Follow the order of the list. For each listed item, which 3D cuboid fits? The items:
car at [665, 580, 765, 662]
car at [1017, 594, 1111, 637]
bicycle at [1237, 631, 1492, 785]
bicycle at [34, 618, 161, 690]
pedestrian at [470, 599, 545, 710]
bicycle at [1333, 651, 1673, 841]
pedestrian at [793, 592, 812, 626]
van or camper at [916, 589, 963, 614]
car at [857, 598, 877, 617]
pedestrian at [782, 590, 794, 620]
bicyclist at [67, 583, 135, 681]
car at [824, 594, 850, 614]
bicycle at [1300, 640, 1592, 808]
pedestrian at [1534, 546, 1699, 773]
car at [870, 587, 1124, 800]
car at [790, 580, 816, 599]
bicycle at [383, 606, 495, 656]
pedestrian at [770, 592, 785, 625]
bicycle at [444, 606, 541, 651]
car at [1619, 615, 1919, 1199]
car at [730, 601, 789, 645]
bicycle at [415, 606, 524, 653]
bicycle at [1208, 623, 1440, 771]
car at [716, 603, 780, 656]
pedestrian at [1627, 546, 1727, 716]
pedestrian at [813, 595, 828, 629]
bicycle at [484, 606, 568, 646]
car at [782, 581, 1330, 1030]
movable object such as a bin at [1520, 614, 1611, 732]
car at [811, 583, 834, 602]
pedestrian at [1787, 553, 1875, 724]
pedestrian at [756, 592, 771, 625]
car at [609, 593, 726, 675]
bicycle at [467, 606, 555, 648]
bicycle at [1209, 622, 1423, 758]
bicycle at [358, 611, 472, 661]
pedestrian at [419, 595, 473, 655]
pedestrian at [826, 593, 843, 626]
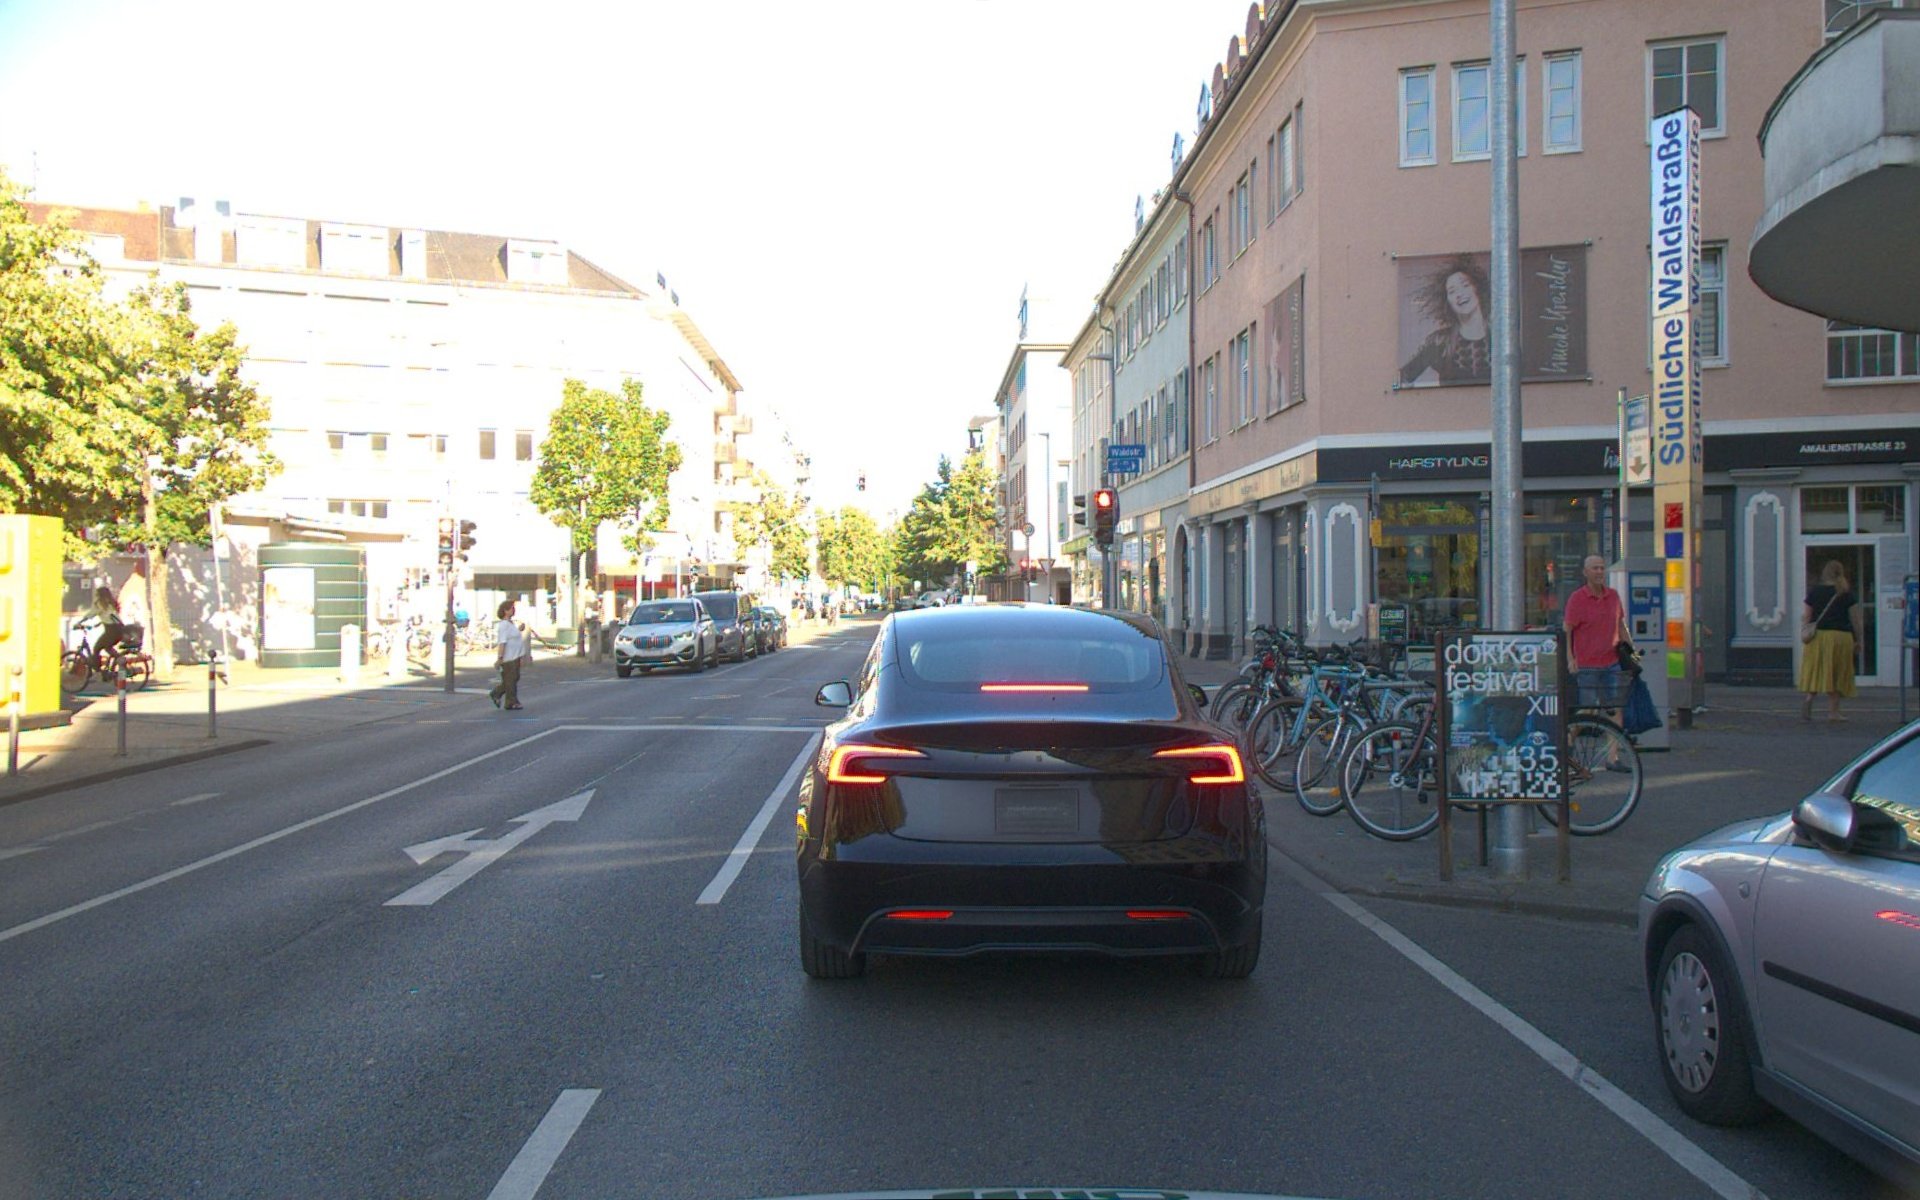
[{"bbox_3d":[-6.235,0.506,42.547,1.906,1.981,4.819,0,0,-1],"label":"car"},{"bbox_3d":[4.710,0.703,74.723,3.937,1.900,1.686,0,0,-22],"label":"car"},{"bbox_3d":[3.045,0.803,12.549,1.776,1.121,0.653,0,0,0],"label":"bicycle"},{"bbox_3d":[-14.810,0.917,28.411,1.912,1.178,0.576,1,0,5],"label":"bicycle"},{"bbox_3d":[-6.514,0.778,23.846,0.904,1.570,0.694,1,-1,-6],"label":"pedestrian"},{"bbox_3d":[3.274,0.873,10.073,1.844,1.062,0.653,-1,0,0],"label":"bicycle"},{"bbox_3d":[-9.000,0.517,94.445,0.719,1.900,0.790,1,-1,28],"label":"pedestrian"},{"bbox_3d":[-2.069,0.175,167.502,4.752,2.481,1.850,0,0,-1],"label":"van or camper"},{"bbox_3d":[-10.501,0.835,186.949,2.089,2.004,4.133,0,0,-1],"label":"car"},{"bbox_3d":[-10.769,0.316,103.697,0.681,1.900,0.658,1,-1,-6],"label":"pedestrian"},{"bbox_3d":[-14.739,0.543,28.391,0.808,1.642,0.580,1,0,6],"label":"bicyclist"},{"bbox_3d":[-12.345,0.400,166.245,2.365,2.004,4.677,0,0,-1],"label":"car"},{"bbox_3d":[3.245,0.820,11.145,1.776,1.078,0.653,0,0,0],"label":"bicycle"},{"bbox_3d":[5.302,0.461,13.445,1.035,1.750,1.114,1,0,11],"label":"pedestrian"},{"bbox_3d":[0.238,0.684,14.178,1.812,1.507,4.450,1,0,-1],"label":"car"},{"bbox_3d":[-17.018,-1.123,179.388,2.228,2.049,4.717,1,0,0],"label":"car"},{"bbox_3d":[-14.127,0.845,44.905,2.725,1.296,0.932,1,0,-4],"label":"bicycle"},{"bbox_3d":[-10.687,0.498,96.973,0.721,1.900,0.787,1,-1,-17],"label":"pedestrian"},{"bbox_3d":[-14.013,0.847,49.625,2.609,1.281,0.942,1,0,-4],"label":"bicycle"},{"bbox_3d":[2.916,0.779,3.519,1.551,1.451,3.579,1,0,-1],"label":"car"},{"bbox_3d":[-6.828,0.765,56.617,1.660,1.414,3.914,-1,0,-3],"label":"car"},{"bbox_3d":[-14.004,0.832,47.307,2.818,1.292,0.942,1,0,-4],"label":"bicycle"},{"bbox_3d":[2.974,0.781,13.621,1.776,1.172,0.653,0,0,0],"label":"bicycle"},{"bbox_3d":[-6.339,0.854,49.674,1.431,1.455,3.605,-3,0,-1],"label":"car"},{"bbox_3d":[8.239,0.352,19.038,0.667,1.882,0.893,-3,-1,1],"label":"pedestrian"},{"bbox_3d":[-8.060,0.689,95.593,0.684,1.900,0.905,1,-1,-18],"label":"pedestrian"},{"bbox_3d":[-14.231,0.859,54.321,2.491,1.273,0.942,1,0,-4],"label":"bicycle"},{"bbox_3d":[0.295,0.698,7.753,1.812,1.472,4.450,1,0,-1],"label":"car"},{"bbox_3d":[6.037,0.720,16.523,0.623,1.122,0.728,-2,0,3],"label":"movable object such as a bin"},{"bbox_3d":[-15.601,-0.811,188.044,2.228,2.049,4.717,1,0,0],"label":"car"},{"bbox_3d":[9.432,0.412,17.933,0.707,1.785,0.787,-3,-1,23],"label":"pedestrian"},{"bbox_3d":[-11.496,0.483,96.784,0.721,1.900,0.787,1,-1,-17],"label":"pedestrian"},{"bbox_3d":[-6.327,0.711,36.219,1.788,1.592,4.299,-4,0,-1],"label":"car"},{"bbox_3d":[-14.065,0.852,51.900,2.491,1.273,0.942,1,0,-4],"label":"bicycle"},{"bbox_3d":[3.157,0.790,14.758,1.776,1.172,0.653,0,0,0],"label":"bicycle"},{"bbox_3d":[-14.004,0.926,42.565,2.607,1.216,0.942,1,0,-4],"label":"bicycle"},{"bbox_3d":[-14.398,0.699,46.373,1.239,1.639,1.094,1,0,-8],"label":"pedestrian"},{"bbox_3d":[-7.284,0.551,95.645,0.762,1.900,1.004,1,-1,-17],"label":"pedestrian"}]
